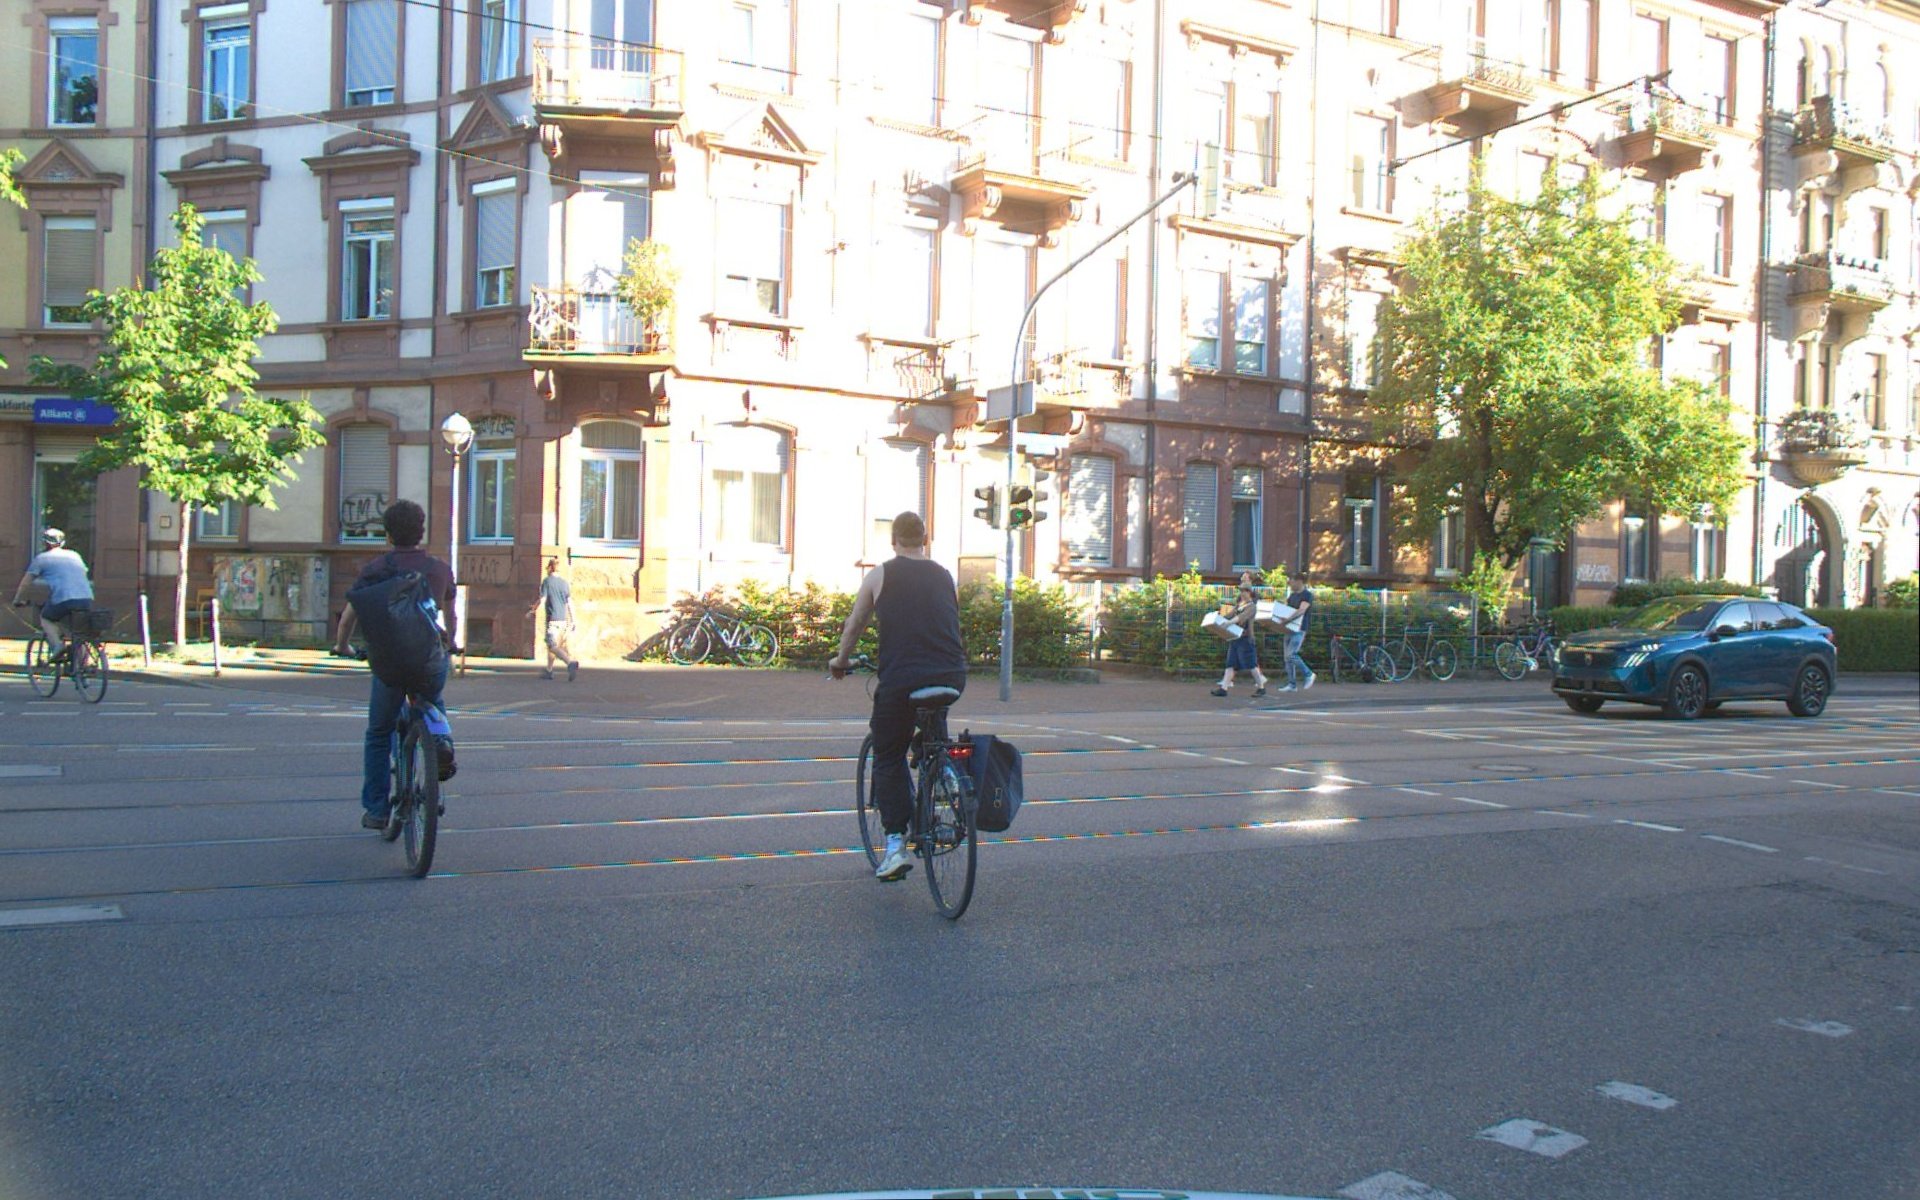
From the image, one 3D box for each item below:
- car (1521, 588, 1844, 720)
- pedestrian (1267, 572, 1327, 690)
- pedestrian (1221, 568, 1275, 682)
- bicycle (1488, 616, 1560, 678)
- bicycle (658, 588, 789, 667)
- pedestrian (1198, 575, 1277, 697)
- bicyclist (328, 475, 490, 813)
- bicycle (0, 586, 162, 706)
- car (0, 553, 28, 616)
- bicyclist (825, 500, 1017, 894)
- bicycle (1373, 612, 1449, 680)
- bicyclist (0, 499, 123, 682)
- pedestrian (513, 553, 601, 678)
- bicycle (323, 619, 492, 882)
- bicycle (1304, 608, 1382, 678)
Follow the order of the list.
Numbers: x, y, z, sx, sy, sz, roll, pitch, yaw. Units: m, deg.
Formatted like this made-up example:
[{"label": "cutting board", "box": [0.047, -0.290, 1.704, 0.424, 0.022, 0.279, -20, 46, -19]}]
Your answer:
[{"label": "car", "box": [10.130, 0.726, 23.133, 4.348, 1.679, 1.930, 1, 0, -30]}, {"label": "pedestrian", "box": [5.091, 0.466, 25.002, 0.624, 1.745, 0.661, 1, 0, -17]}, {"label": "pedestrian", "box": [4.468, 0.383, 25.681, 0.624, 1.745, 0.519, 1, 0, -17]}, {"label": "bicycle", "box": [9.949, 0.828, 29.174, 1.214, 1.056, 0.440, 1, 1, -25]}, {"label": "bicycle", "box": [-3.694, 0.426, 25.863, 1.919, 1.126, 0.443, 3, 0, 4]}, {"label": "pedestrian", "box": [4.015, 0.511, 23.971, 0.880, 1.693, 0.710, 1, 3, -13]}, {"label": "bicyclist", "box": [-2.788, 0.210, 8.391, 0.696, 1.601, 0.952, 2, 0, -19]}, {"label": "bicycle", "box": [-9.780, 0.475, 18.082, 2.179, 1.205, 0.811, 2, 0, 31]}, {"label": "car", "box": [-23.402, -0.382, 38.902, 1.472, 1.483, 3.202, 2, 0, -8]}, {"label": "bicyclist", "box": [-0.203, 0.418, 7.651, 0.675, 1.685, 0.985, 0, -1, -15]}, {"label": "bicycle", "box": [7.648, 0.780, 28.038, 1.213, 1.126, 0.440, 1, 1, -24]}, {"label": "bicyclist", "box": [-9.858, -0.112, 18.141, 0.924, 1.946, 0.795, 2, 0, 30]}, {"label": "pedestrian", "box": [-5.592, 0.204, 22.971, 0.885, 1.663, 0.724, 4, 2, 29]}, {"label": "bicycle", "box": [-2.833, 0.698, 8.486, 0.706, 1.126, 1.956, 2, 0, -19]}, {"label": "bicycle", "box": [6.363, 0.713, 27.481, 1.213, 1.126, 0.440, 1, 1, -24]}]
